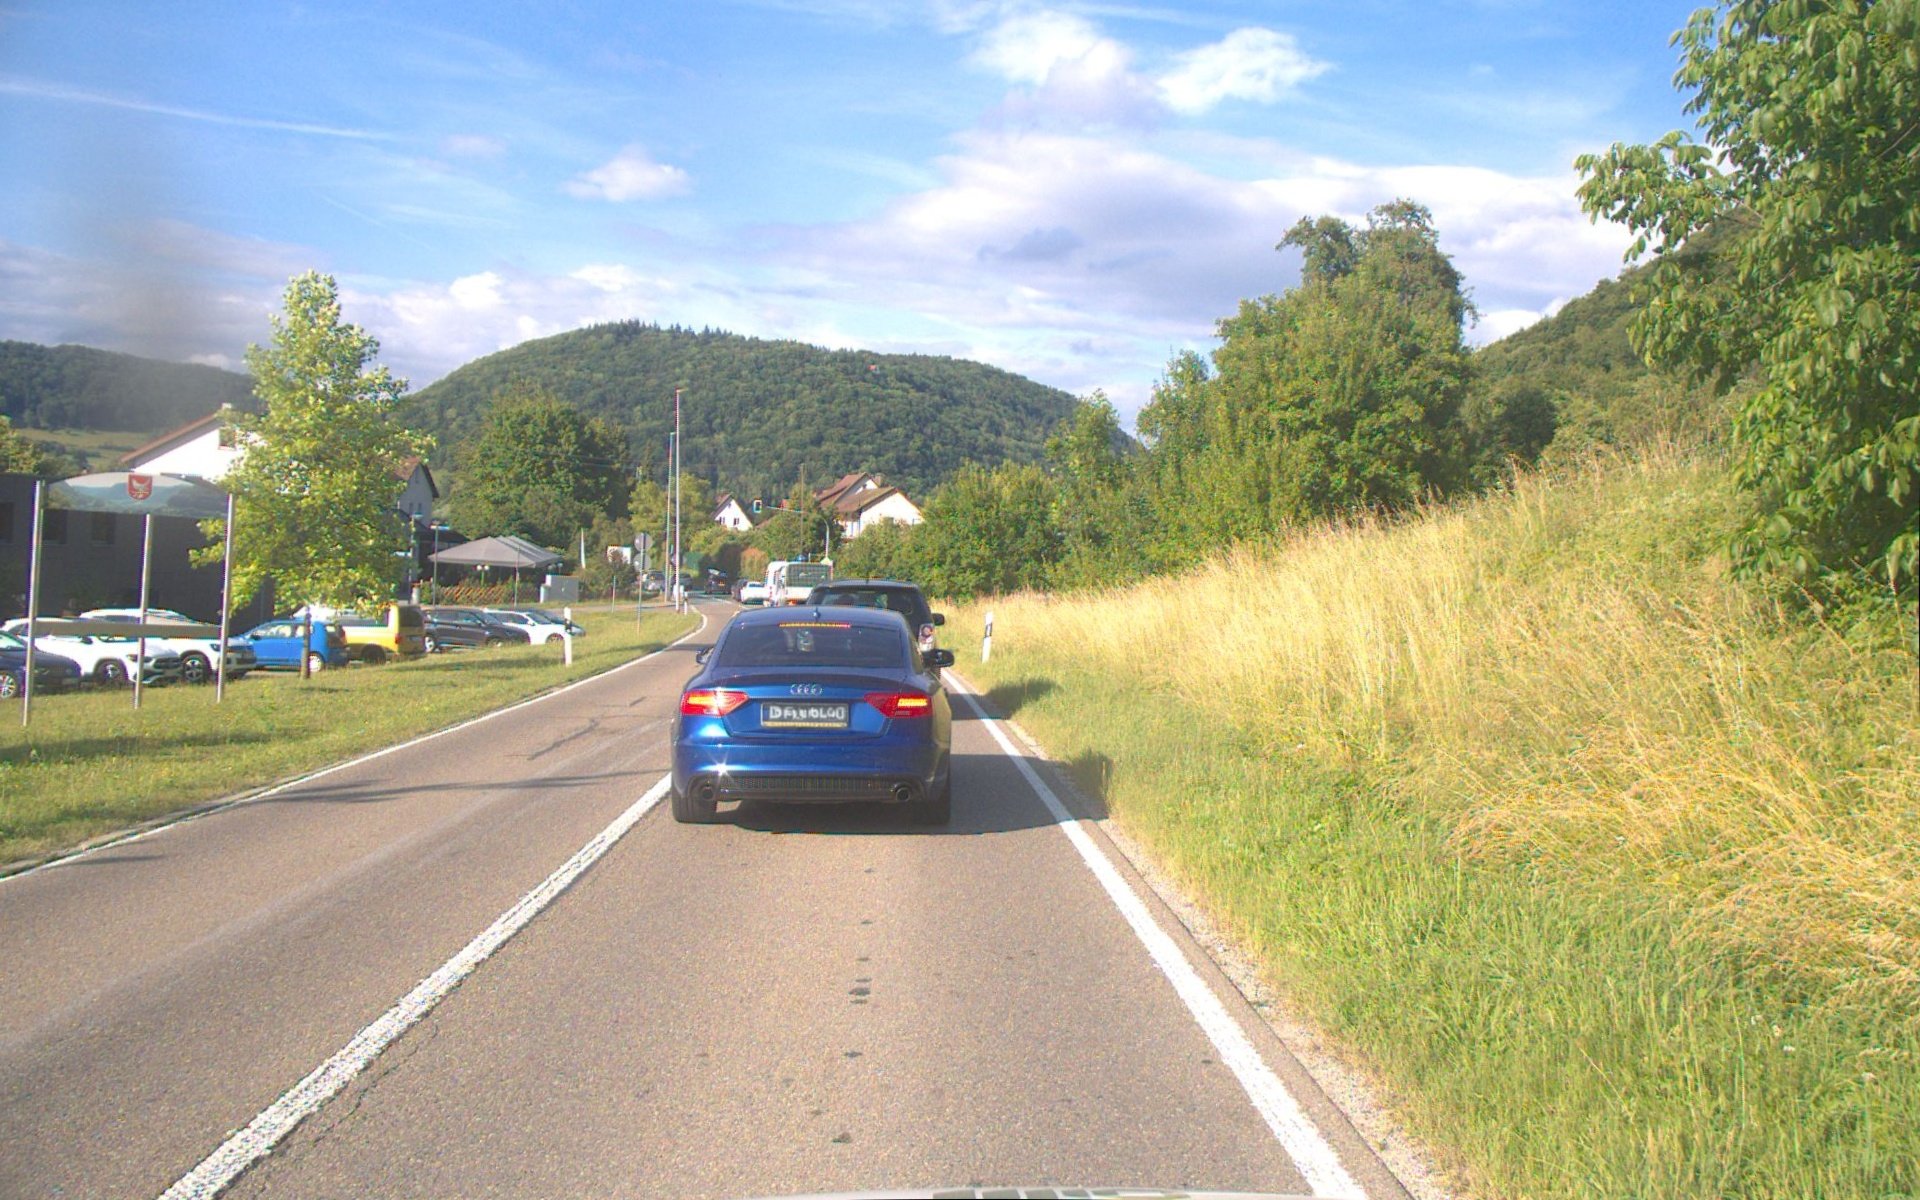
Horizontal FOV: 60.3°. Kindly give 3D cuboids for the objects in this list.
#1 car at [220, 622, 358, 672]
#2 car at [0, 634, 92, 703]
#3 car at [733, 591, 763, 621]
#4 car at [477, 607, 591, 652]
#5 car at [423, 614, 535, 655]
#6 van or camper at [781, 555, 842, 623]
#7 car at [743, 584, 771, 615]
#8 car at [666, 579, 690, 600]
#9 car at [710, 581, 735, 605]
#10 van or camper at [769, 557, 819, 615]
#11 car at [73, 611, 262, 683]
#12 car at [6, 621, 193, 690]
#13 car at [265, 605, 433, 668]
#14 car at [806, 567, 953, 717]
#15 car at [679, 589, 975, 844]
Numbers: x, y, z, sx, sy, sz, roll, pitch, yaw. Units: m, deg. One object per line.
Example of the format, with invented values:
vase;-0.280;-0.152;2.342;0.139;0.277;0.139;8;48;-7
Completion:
car;-19.358;1.345;47.810;3.299;1.397;1.660;-1;0;1
car;-20.641;1.436;35.200;3.547;1.430;1.598;0;-1;8
car;-14.486;0.411;113.128;1.631;1.958;3.986;0;0;-13
car;-16.678;1.141;64.809;3.949;1.689;1.657;-1;0;8
car;-17.542;1.257;60.383;3.633;1.465;1.510;-1;0;8
van or camper;-5.870;-0.399;64.659;2.014;2.549;5.799;0;0;-9
car;-12.986;-0.043;105.669;1.629;1.958;3.992;0;0;-9
car;-26.562;-0.999;155.849;1.651;1.958;3.979;0;0;-18
car;-19.792;-0.558;137.862;1.649;1.958;3.984;0;0;-15
van or camper;-8.303;-0.663;82.404;2.238;2.761;5.756;0;0;-8
car;-20.003;1.166;41.821;3.992;1.702;1.597;1;0;3
car;-20.016;1.267;38.515;3.588;1.520;1.598;0;1;8
car;-18.565;1.106;50.333;4.456;1.846;1.842;-1;0;8
car;-1.020;0.473;20.463;1.613;1.653;3.514;2;0;-4
car;-0.902;0.693;11.481;1.708;1.476;3.514;1;0;-4
